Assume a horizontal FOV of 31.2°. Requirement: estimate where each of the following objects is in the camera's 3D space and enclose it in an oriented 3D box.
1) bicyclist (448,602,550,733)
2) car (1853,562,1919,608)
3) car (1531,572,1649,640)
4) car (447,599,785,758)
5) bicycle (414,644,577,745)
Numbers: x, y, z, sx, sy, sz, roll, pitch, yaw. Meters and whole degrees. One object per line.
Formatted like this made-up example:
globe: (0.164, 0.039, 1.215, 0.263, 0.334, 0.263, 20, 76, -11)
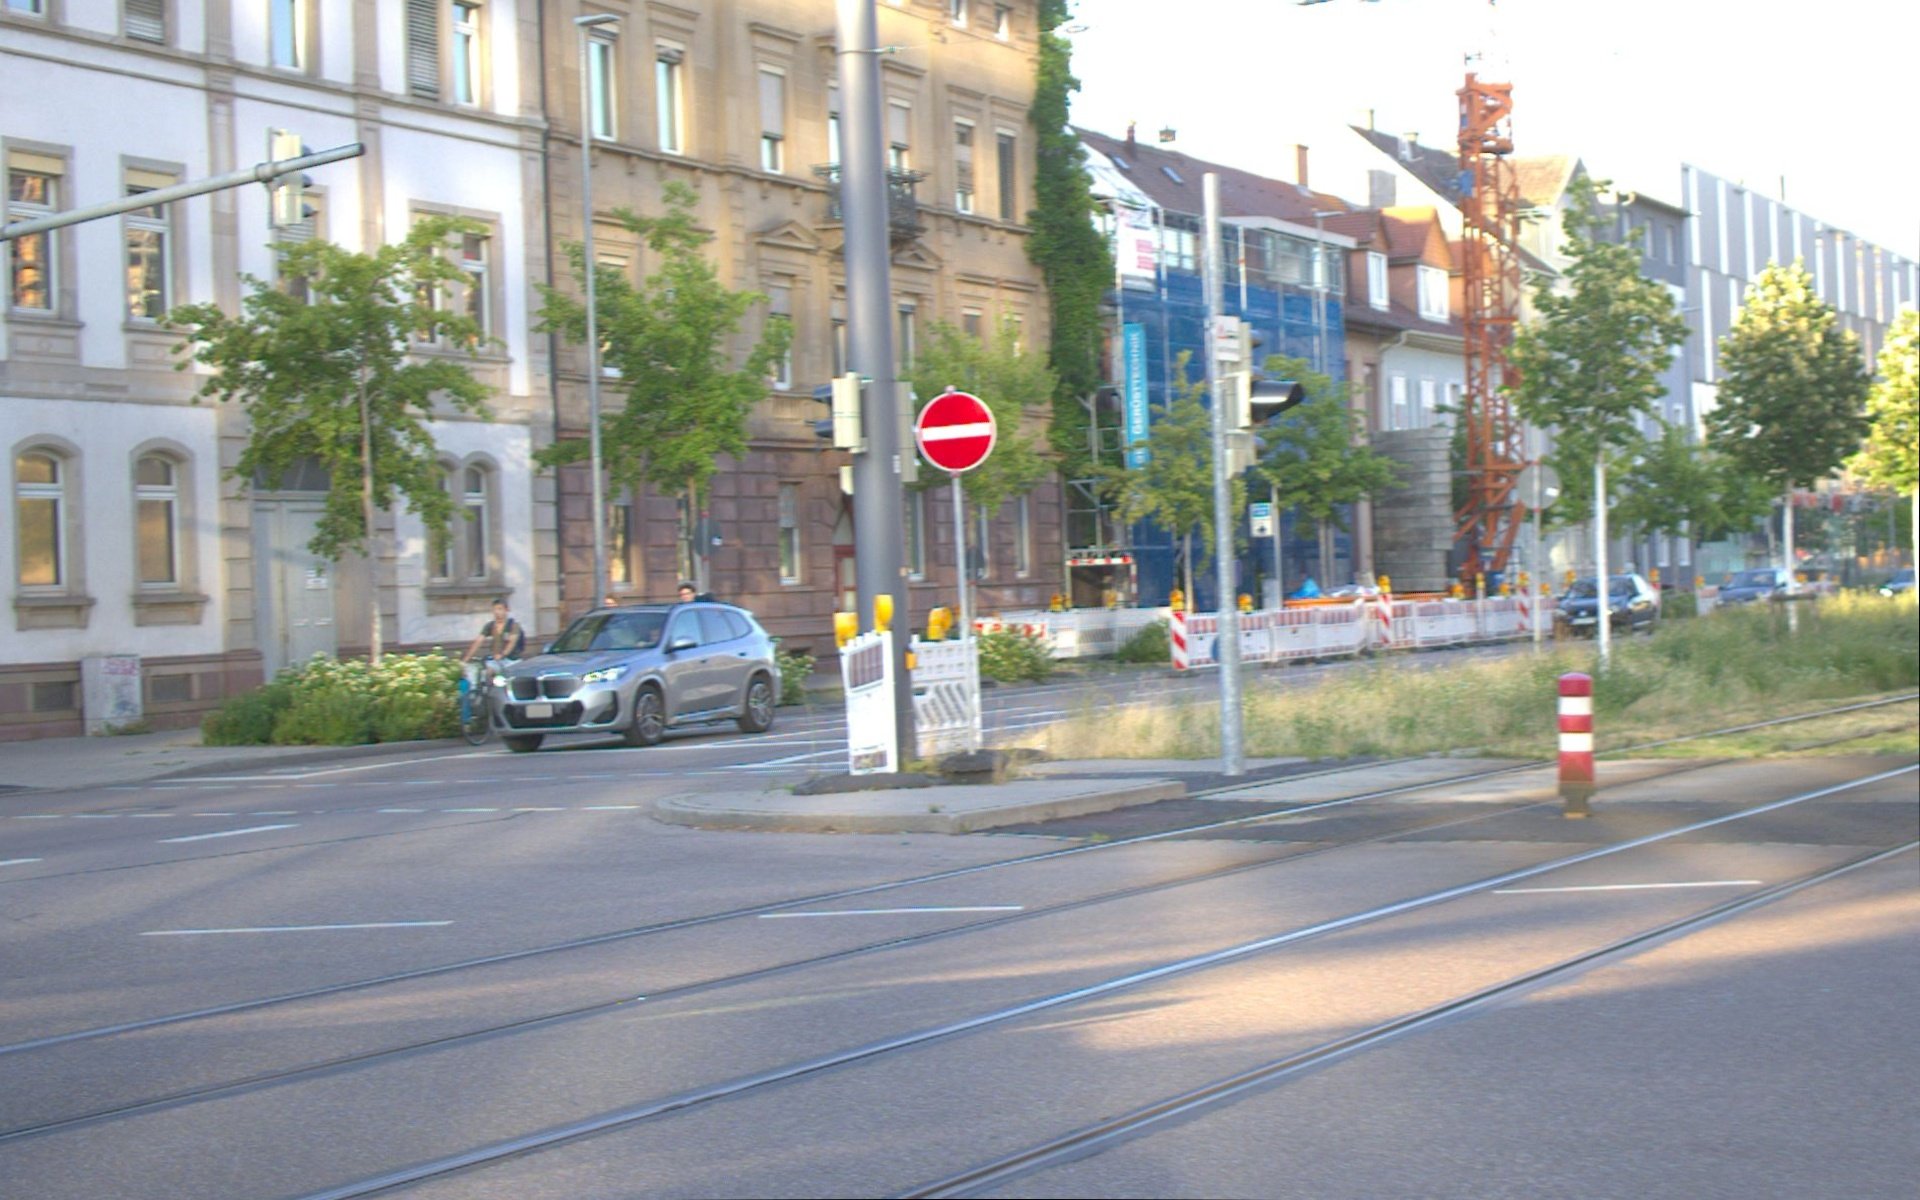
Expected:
bicyclist: (-5.801, 0.836, 43.283, 0.849, 1.587, 0.998, 0, 2, 25)
car: (30.501, -0.503, 112.657, 1.660, 1.426, 3.889, 0, 2, 26)
car: (14.494, 0.120, 78.936, 1.660, 1.426, 3.889, 0, 2, 26)
car: (-3.946, 0.881, 40.108, 1.996, 1.575, 4.118, -3, 0, 26)
bicycle: (-5.816, 1.167, 43.189, 0.849, 1.120, 2.411, 0, 2, 25)
